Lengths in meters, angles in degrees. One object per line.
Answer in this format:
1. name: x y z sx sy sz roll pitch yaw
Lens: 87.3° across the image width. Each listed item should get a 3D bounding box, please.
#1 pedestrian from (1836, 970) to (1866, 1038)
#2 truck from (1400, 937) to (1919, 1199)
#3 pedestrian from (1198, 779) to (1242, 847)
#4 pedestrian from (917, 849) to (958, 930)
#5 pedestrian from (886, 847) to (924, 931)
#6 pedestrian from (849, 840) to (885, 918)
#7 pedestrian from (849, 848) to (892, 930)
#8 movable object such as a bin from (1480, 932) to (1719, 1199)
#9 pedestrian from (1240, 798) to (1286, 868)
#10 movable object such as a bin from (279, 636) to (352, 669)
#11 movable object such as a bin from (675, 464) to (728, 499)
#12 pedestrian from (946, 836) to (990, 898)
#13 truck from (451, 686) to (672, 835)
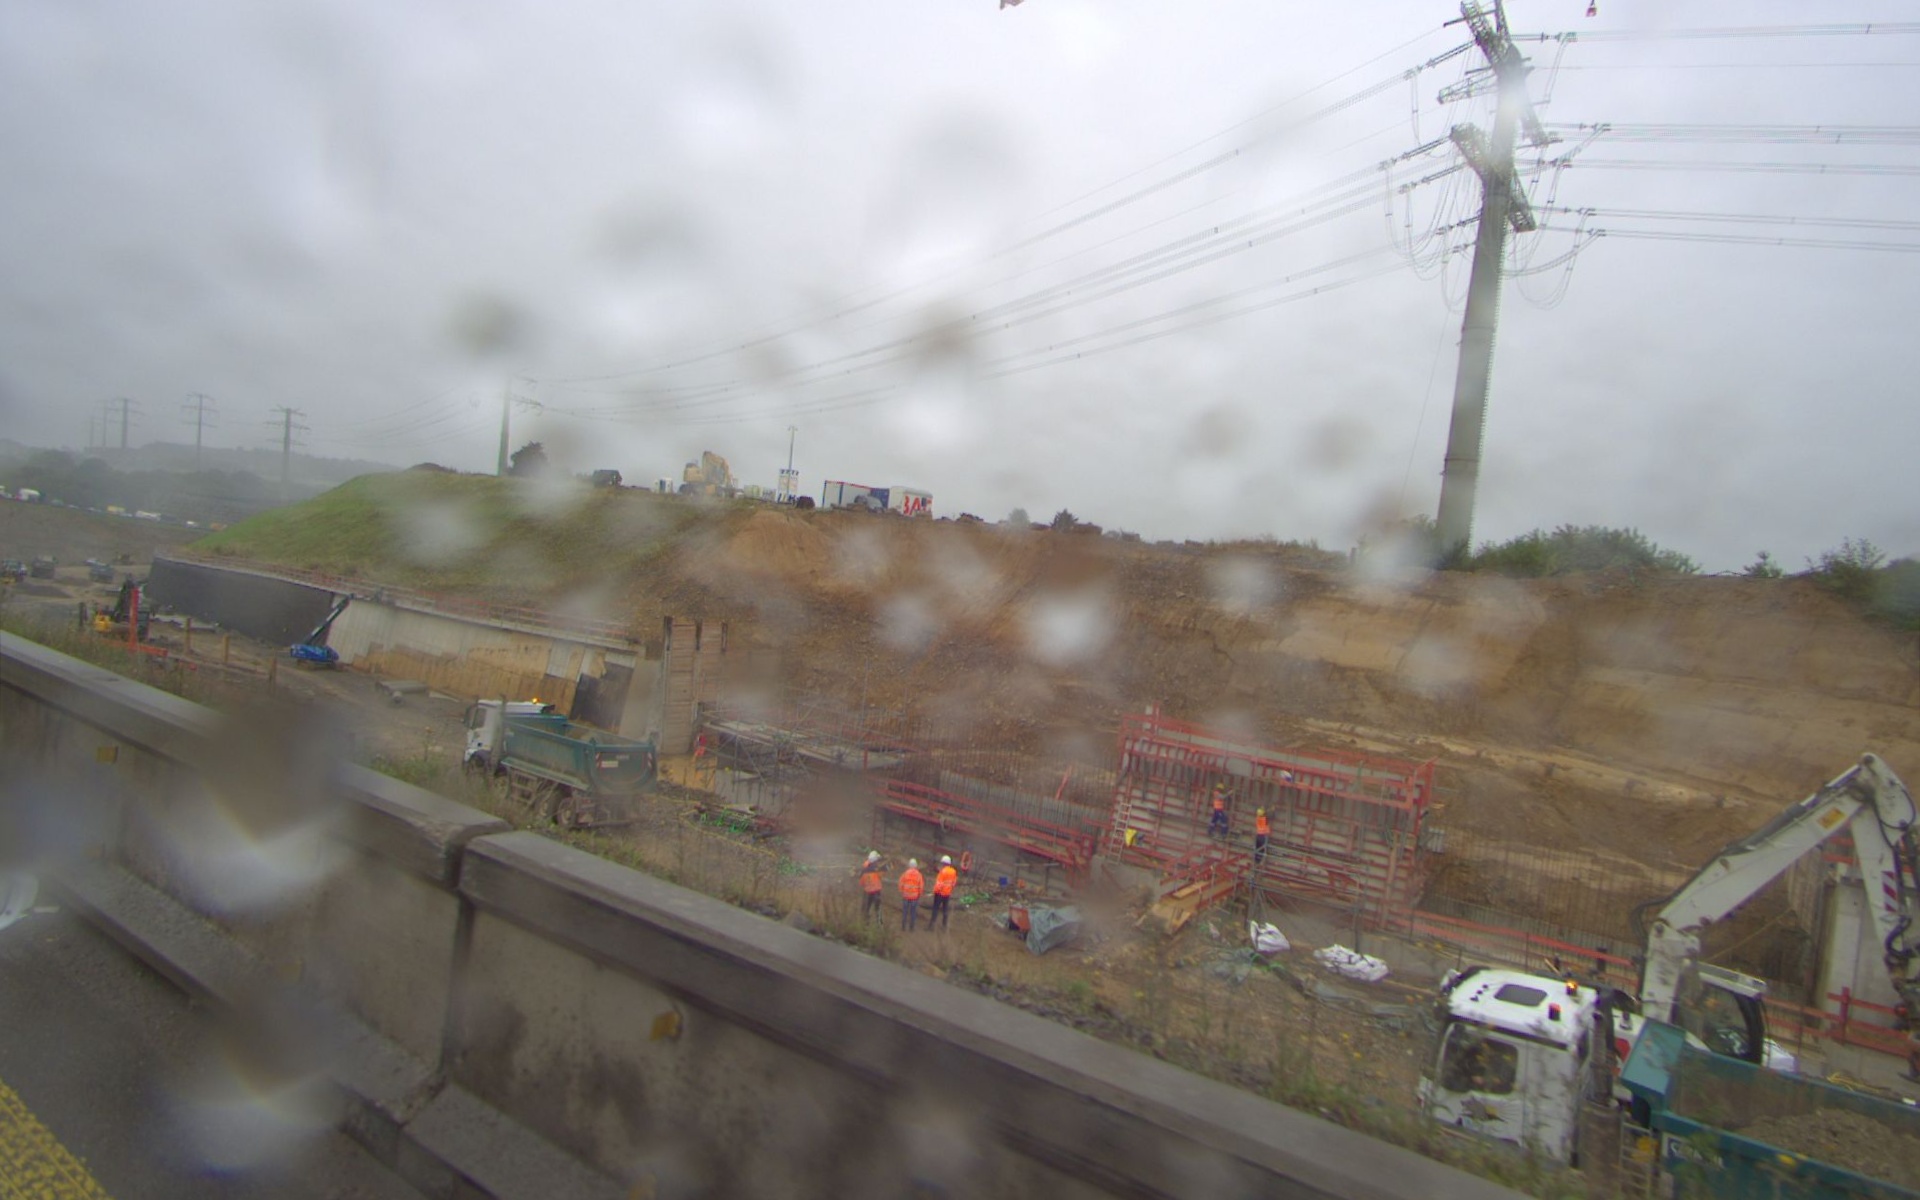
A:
1. pedestrian: 21.458 9.730 24.239 0.393 1.446 0.425 6 -9 35
2. truck: 10.320 7.259 11.816 8.831 3.545 2.694 6 -1 44
3. pedestrian: 8.682 7.109 33.566 0.885 2.014 0.907 6 -11 36
4. pedestrian: -0.594 7.640 26.577 0.725 1.968 0.573 7 0 -20
5. pedestrian: -1.426 7.528 26.243 0.721 1.968 0.575 7 0 4
6. pedestrian: -2.516 7.513 27.130 0.567 1.892 0.731 7 0 -21
7. pedestrian: -2.327 7.514 26.204 0.724 1.892 0.573 7 0 39
8. movable object such as a bin: 10.808 7.757 17.209 2.920 2.770 3.154 6 -1 32
9. pedestrian: 9.843 7.550 32.656 0.885 2.014 0.907 6 -11 36
10. movable object such as a bin: -47.022 3.818 73.463 3.772 2.036 2.001 6 -3 -5
11. movable object such as a bin: -22.791 -10.415 88.569 3.910 2.473 2.427 9 1 40
12. pedestrian: 0.293 9.845 37.064 0.891 2.014 0.901 6 -10 35
13. truck: -14.325 5.443 35.686 8.927 3.532 2.730 6 -1 37
